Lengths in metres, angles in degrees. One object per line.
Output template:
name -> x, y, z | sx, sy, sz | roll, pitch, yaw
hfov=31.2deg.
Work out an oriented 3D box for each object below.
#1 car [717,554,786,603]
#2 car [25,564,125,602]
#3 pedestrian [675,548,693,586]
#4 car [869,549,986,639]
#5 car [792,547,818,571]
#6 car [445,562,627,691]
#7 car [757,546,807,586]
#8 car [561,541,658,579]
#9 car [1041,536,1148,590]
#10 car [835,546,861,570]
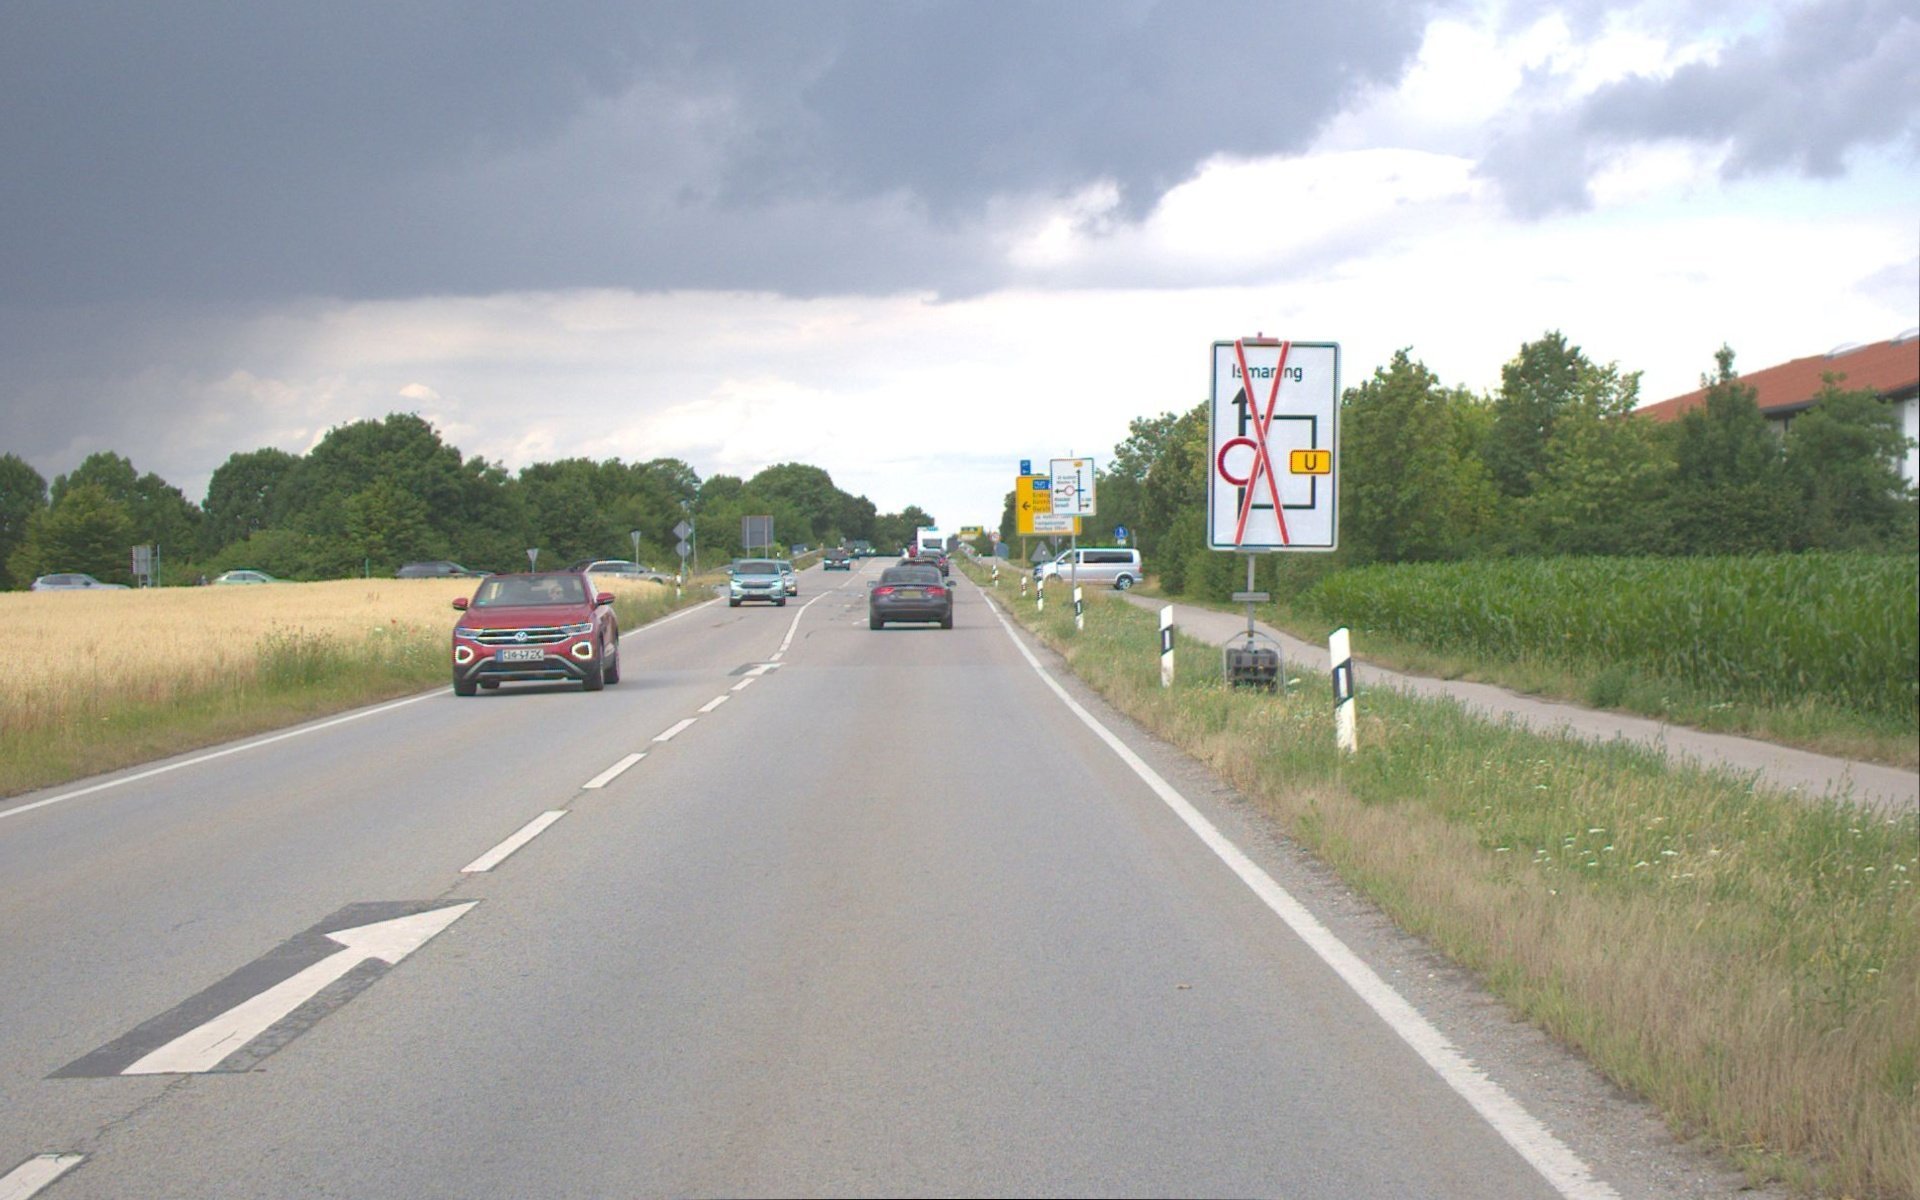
car -> -7.114, -0.762, 117.890 | 2.065, 1.575, 4.765 | -2, 1, -1
car -> -41.087, -0.797, 159.688 | 4.072, 1.643, 1.866 | -1, 1, 4
pedestrian -> -11.452, -1.355, 142.613 | 0.367, 1.570, 0.702 | -1, 0, 36
car -> -0.771, -0.150, 77.231 | 2.371, 1.874, 4.478 | -3, 1, -3
car -> -10.804, -2.855, 239.964 | 1.646, 1.585, 4.000 | -1, 1, 0
car -> -5.241, 0.286, 42.977 | 1.712, 1.483, 4.608 | -1, 1, 0
car -> -7.283, -1.396, 141.003 | 1.767, 1.596, 4.930 | -1, 1, 0
car -> -16.121, -1.833, 158.149 | 4.412, 1.643, 1.502 | -1, 1, -5
car -> 6.335, -1.728, 162.061 | 4.835, 2.443, 2.006 | -1, 0, -3
car -> -7.589, -2.879, 233.524 | 1.646, 1.585, 4.000 | -1, 1, 0
